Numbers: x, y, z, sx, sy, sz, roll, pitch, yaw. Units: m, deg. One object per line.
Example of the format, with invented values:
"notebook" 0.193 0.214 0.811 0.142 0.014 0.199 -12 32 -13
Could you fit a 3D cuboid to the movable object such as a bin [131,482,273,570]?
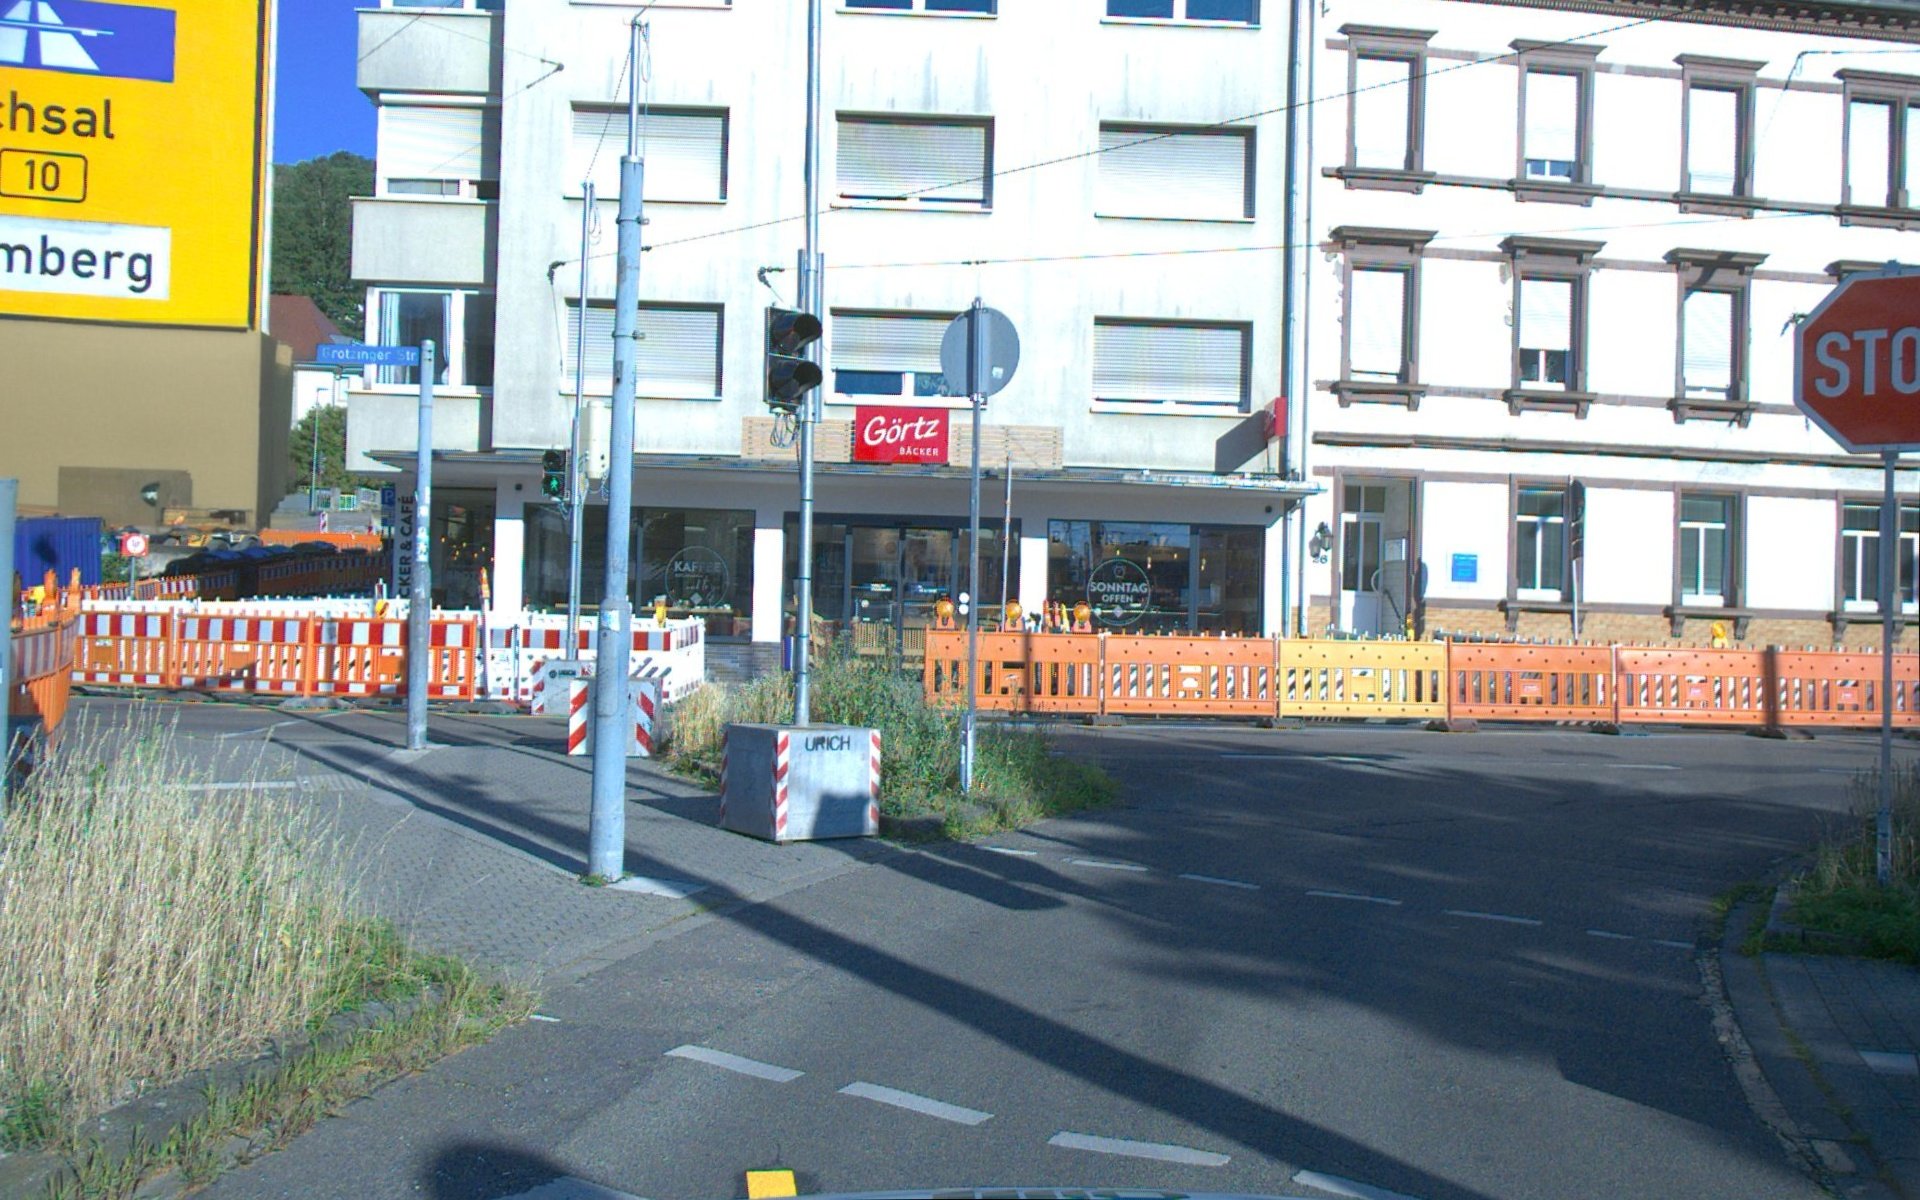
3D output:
"movable object such as a bin" -23.654 -2.257 51.787 1.907 2.538 4.555 1 0 7
